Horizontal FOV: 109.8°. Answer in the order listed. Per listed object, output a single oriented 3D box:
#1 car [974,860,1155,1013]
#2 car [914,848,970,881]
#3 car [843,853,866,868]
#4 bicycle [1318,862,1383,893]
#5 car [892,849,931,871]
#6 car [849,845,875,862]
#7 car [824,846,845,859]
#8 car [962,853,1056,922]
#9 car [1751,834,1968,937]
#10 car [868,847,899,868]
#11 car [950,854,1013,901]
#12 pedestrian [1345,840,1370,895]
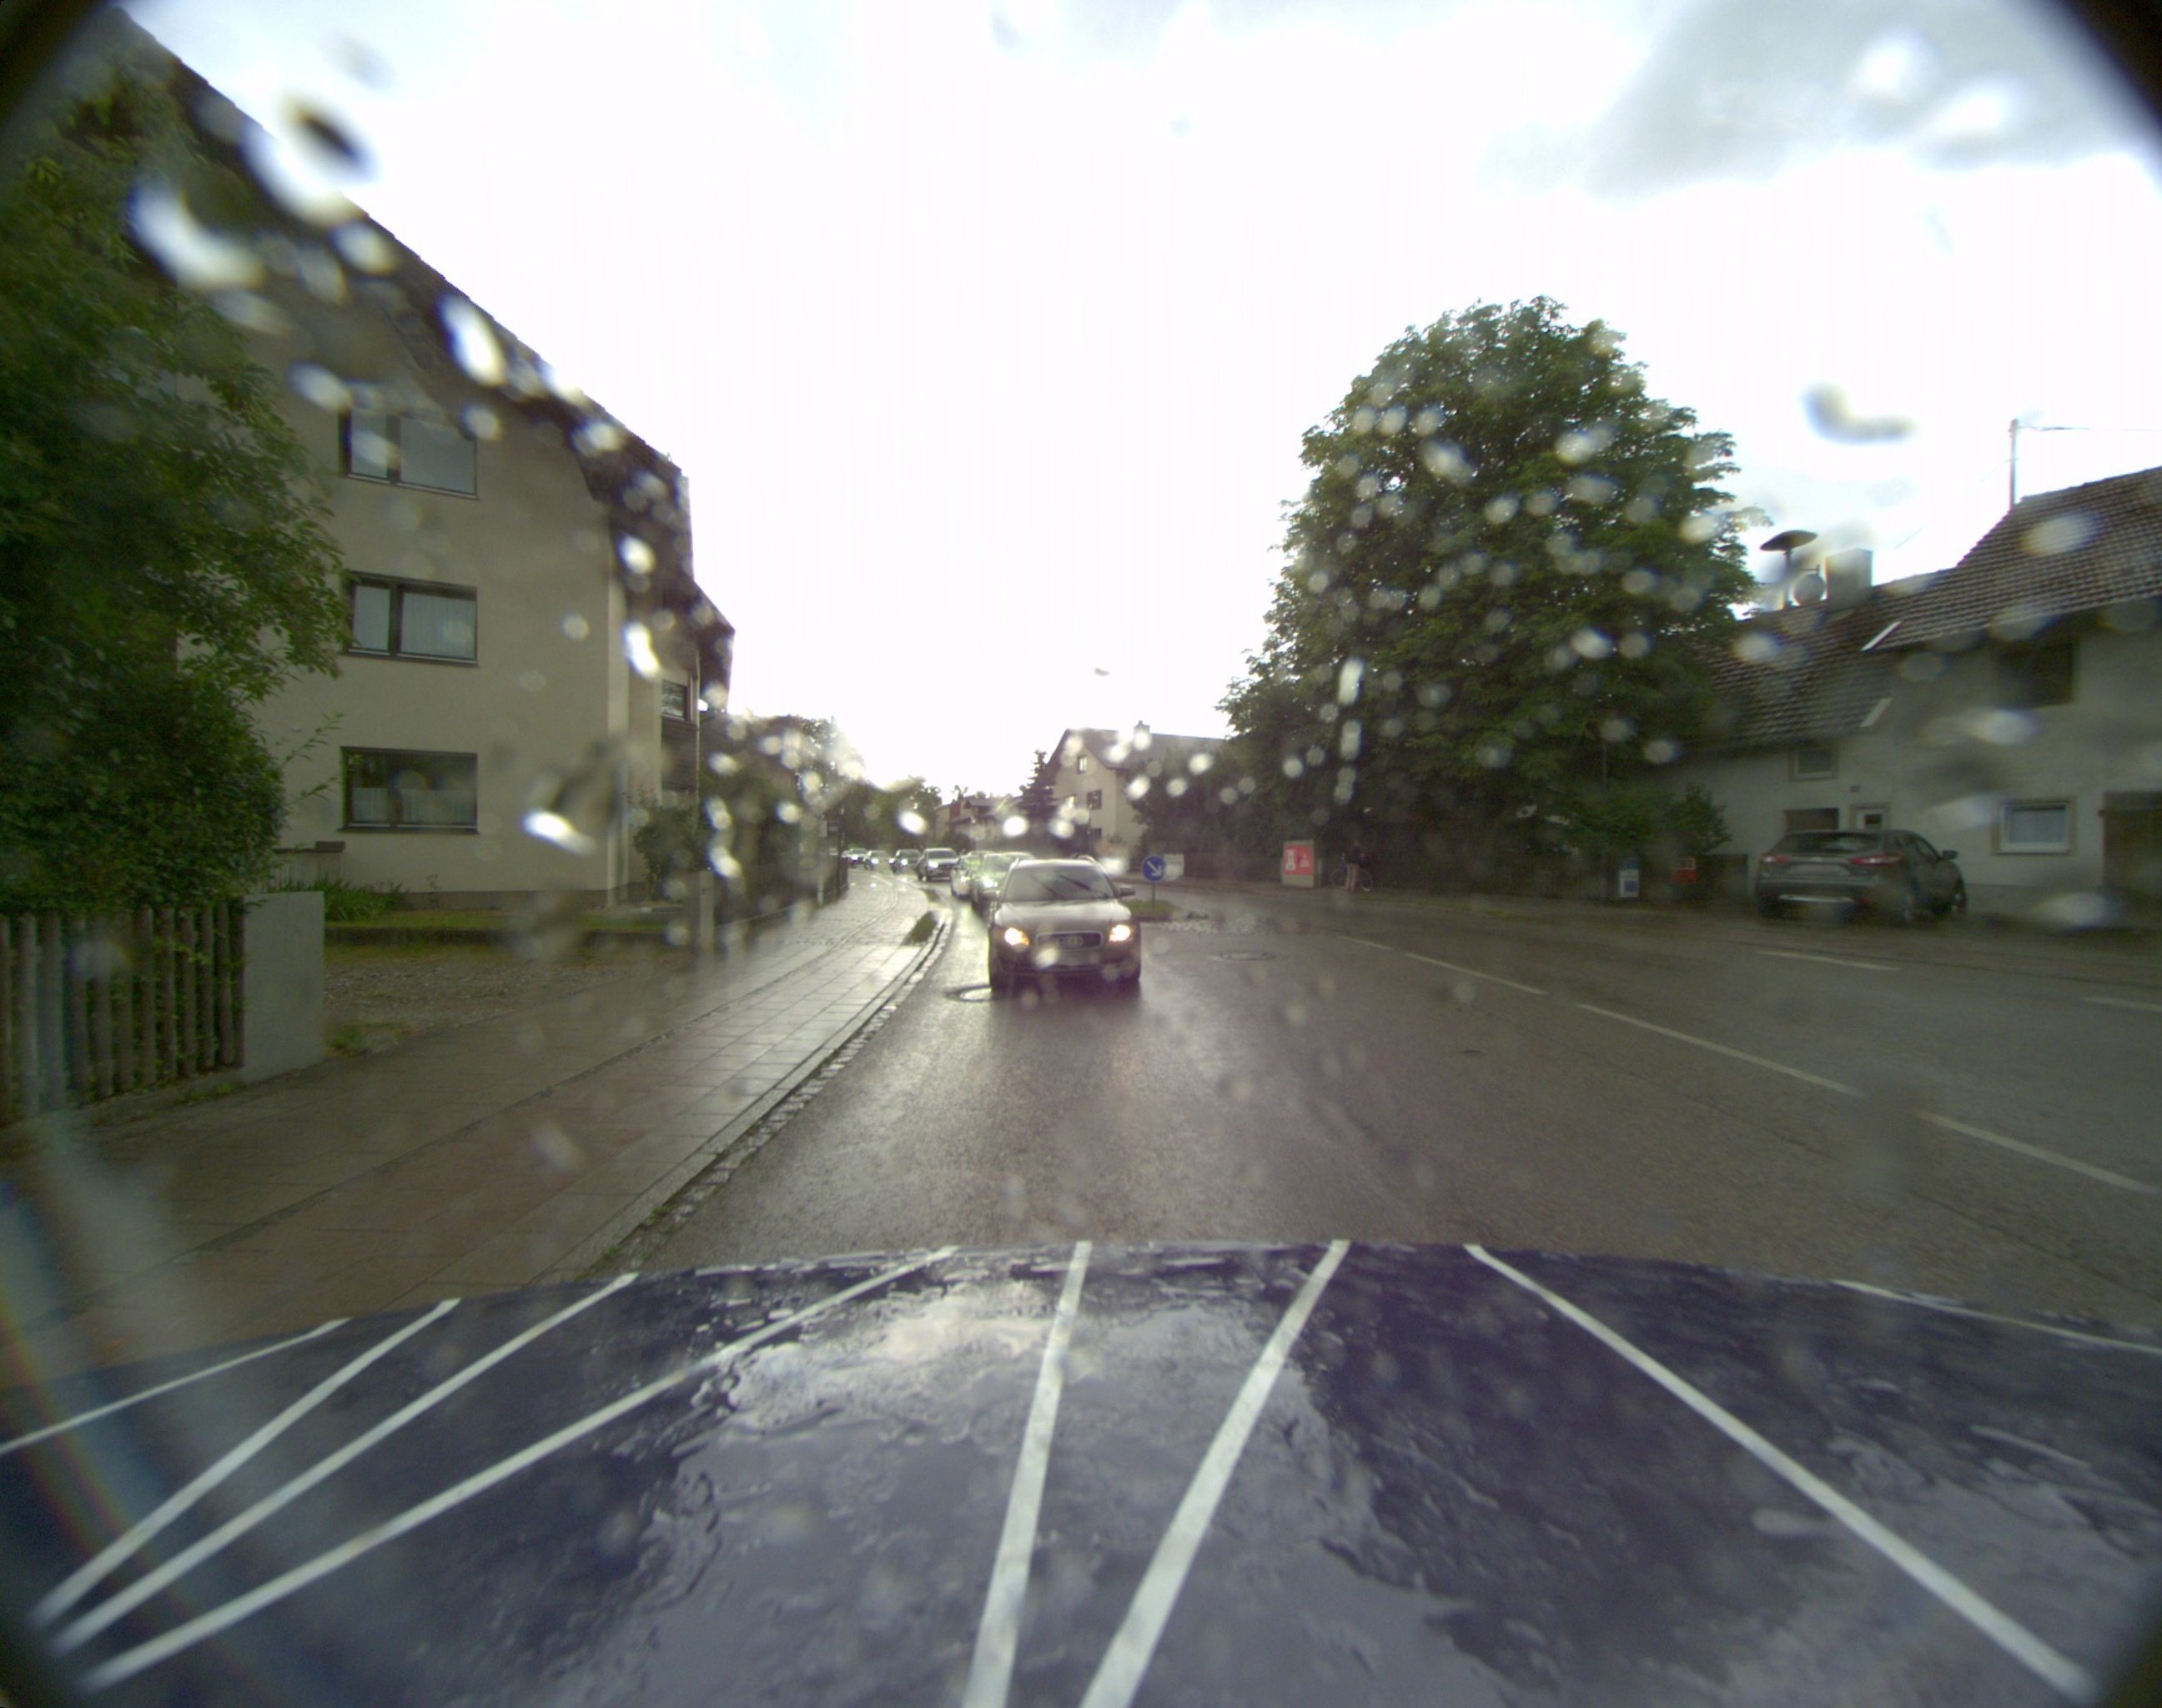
[{"bbox_3d":[-0.357,0.845,9.820,1.794,1.387,4.278,-2,1,-5],"label":"car"},{"bbox_3d":[-7.115,0.500,38.560,1.797,1.539,4.273,-3,1,-23],"label":"car"},{"bbox_3d":[-24.520,0.666,82.219,1.797,1.539,4.273,-3,1,-23],"label":"car"},{"bbox_3d":[8.367,0.716,23.667,0.665,0.897,1.869,-2,1,-35],"label":"bicycle"},{"bbox_3d":[-11.640,0.408,51.915,1.797,1.365,4.273,-3,1,-23],"label":"car"},{"bbox_3d":[-21.049,-0.057,72.896,1.797,1.539,4.273,-3,1,-23],"label":"car"},{"bbox_3d":[-31.362,-0.201,96.591,1.797,1.539,4.272,-3,1,-27],"label":"car"},{"bbox_3d":[-2.046,0.757,20.030,1.795,1.470,5.379,-2,1,-12],"label":"car"},{"bbox_3d":[13.628,0.497,13.243,4.289,1.539,1.813,1,0,-33],"label":"car"},{"bbox_3d":[-16.169,0.275,62.033,1.797,1.539,4.273,-3,1,-23],"label":"car"},{"bbox_3d":[-3.512,0.741,26.215,1.795,1.387,4.276,-2,1,-12],"label":"car"},{"bbox_3d":[8.256,0.384,22.667,0.652,1.619,0.480,0,1,26],"label":"pedestrian"}]
